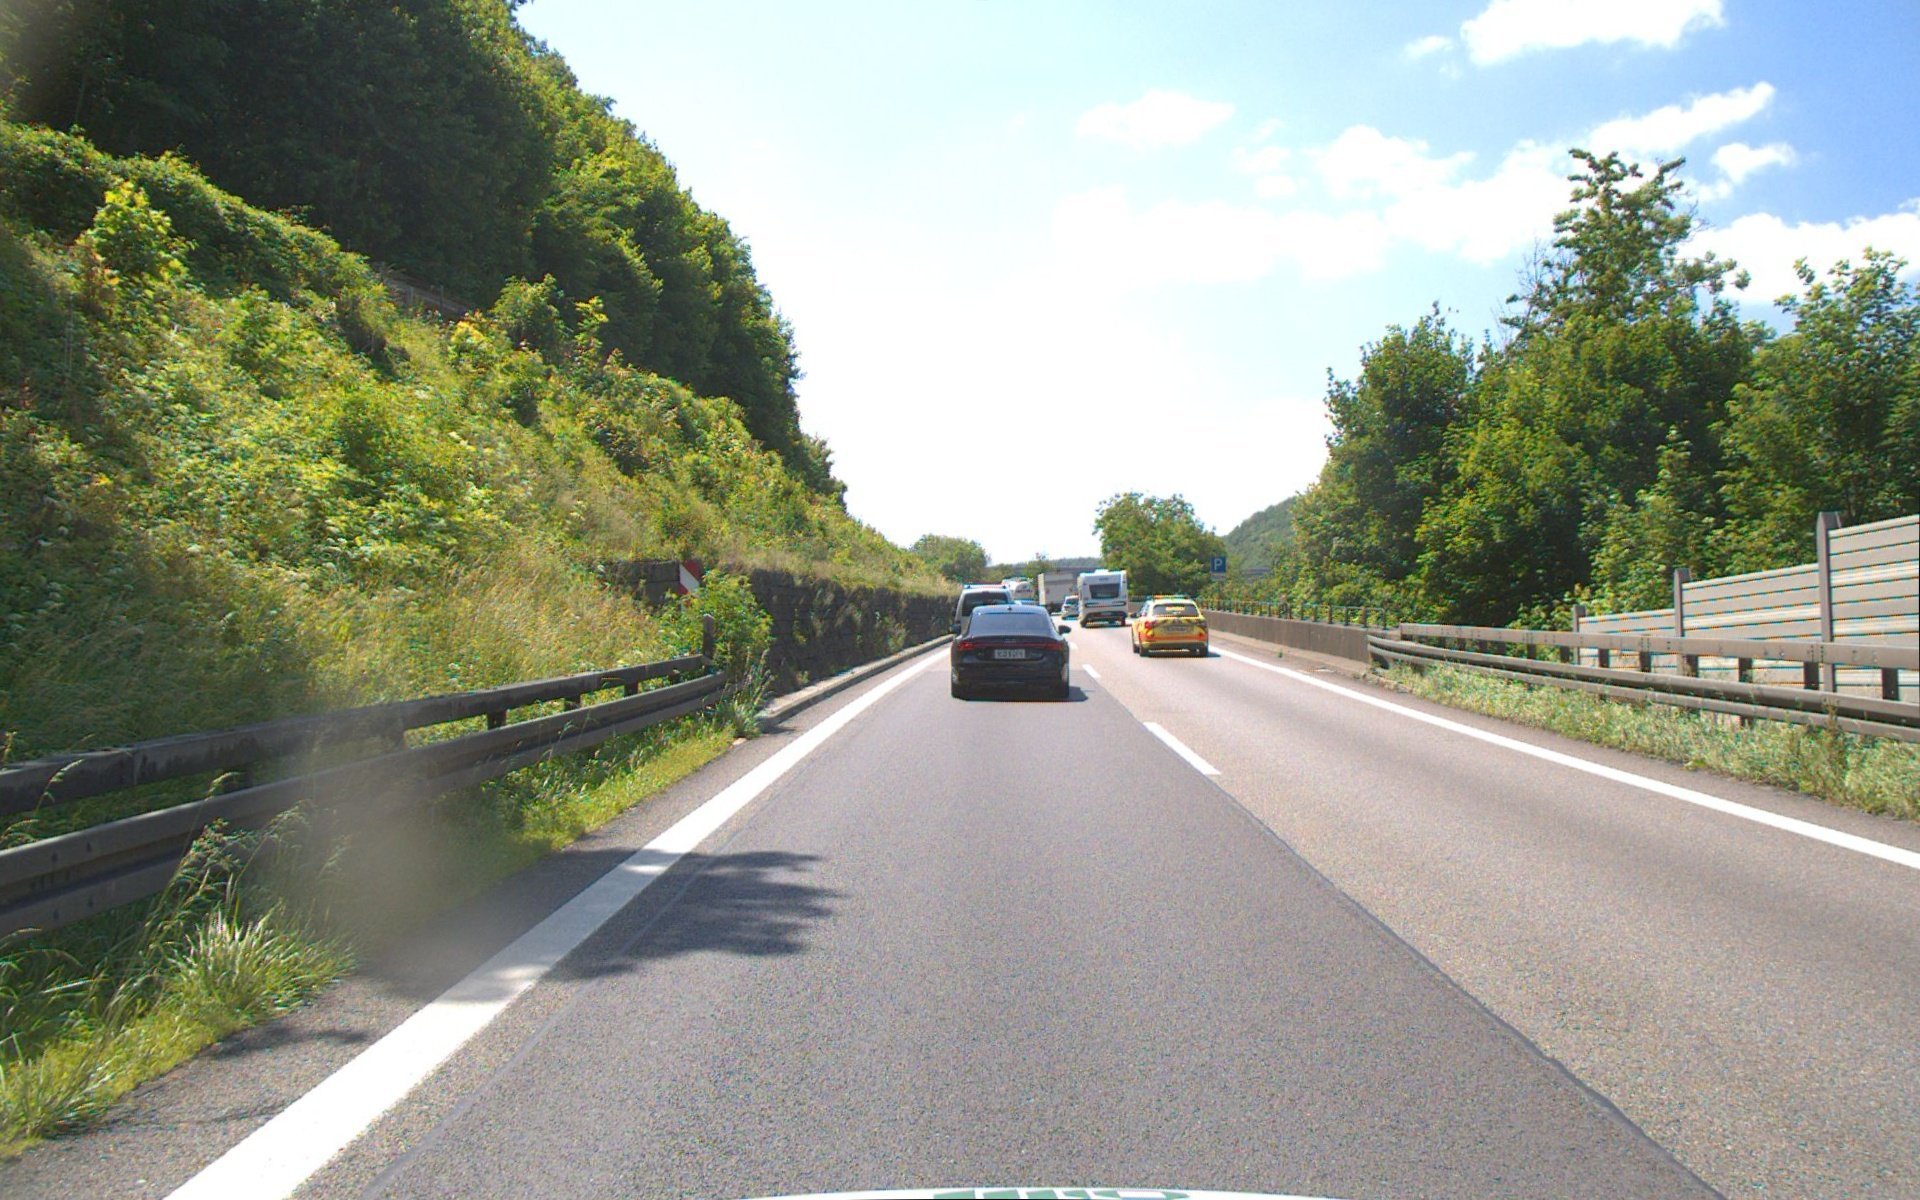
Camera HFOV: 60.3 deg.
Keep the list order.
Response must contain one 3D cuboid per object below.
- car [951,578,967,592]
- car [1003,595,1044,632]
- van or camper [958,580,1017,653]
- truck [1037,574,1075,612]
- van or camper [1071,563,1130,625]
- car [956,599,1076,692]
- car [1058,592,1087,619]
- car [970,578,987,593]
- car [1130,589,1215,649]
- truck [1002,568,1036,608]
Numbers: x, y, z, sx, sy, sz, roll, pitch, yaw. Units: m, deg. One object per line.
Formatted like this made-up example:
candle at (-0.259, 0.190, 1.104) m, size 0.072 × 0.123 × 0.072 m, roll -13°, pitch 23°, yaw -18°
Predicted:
car at (-0.137, -2.288, 253.029) m, size 1.955 × 2.049 × 3.995 m, roll 0°, pitch 0°, yaw -6°
car at (2.936, 0.624, 77.438) m, size 1.737 × 1.665 × 4.000 m, roll 0°, pitch 0°, yaw 0°
van or camper at (0.679, 0.444, 43.567) m, size 1.363 × 1.848 × 3.998 m, roll 0°, pitch -1°, yaw -2°
truck at (8.139, -0.601, 141.255) m, size 2.783 × 3.186 × 7.479 m, roll 0°, pitch 0°, yaw 0°
van or camper at (6.934, -0.242, 82.104) m, size 2.405 × 2.969 × 6.125 m, roll 0°, pitch -1°, yaw 0°
car at (0.843, 0.715, 26.778) m, size 1.800 × 1.373 × 3.999 m, roll 0°, pitch -1°, yaw 0°
car at (7.626, 0.360, 112.453) m, size 1.803 × 1.747 × 4.001 m, roll 0°, pitch 0°, yaw 2°
car at (2.521, -1.969, 226.978) m, size 1.955 × 2.049 × 3.995 m, roll 0°, pitch 0°, yaw -6°
car at (5.576, 0.508, 43.779) m, size 1.824 × 1.514 × 4.000 m, roll 0°, pitch -1°, yaw 1°
truck at (6.183, -1.268, 174.616) m, size 2.679 × 4.168 × 7.473 m, roll 0°, pitch 0°, yaw -4°
